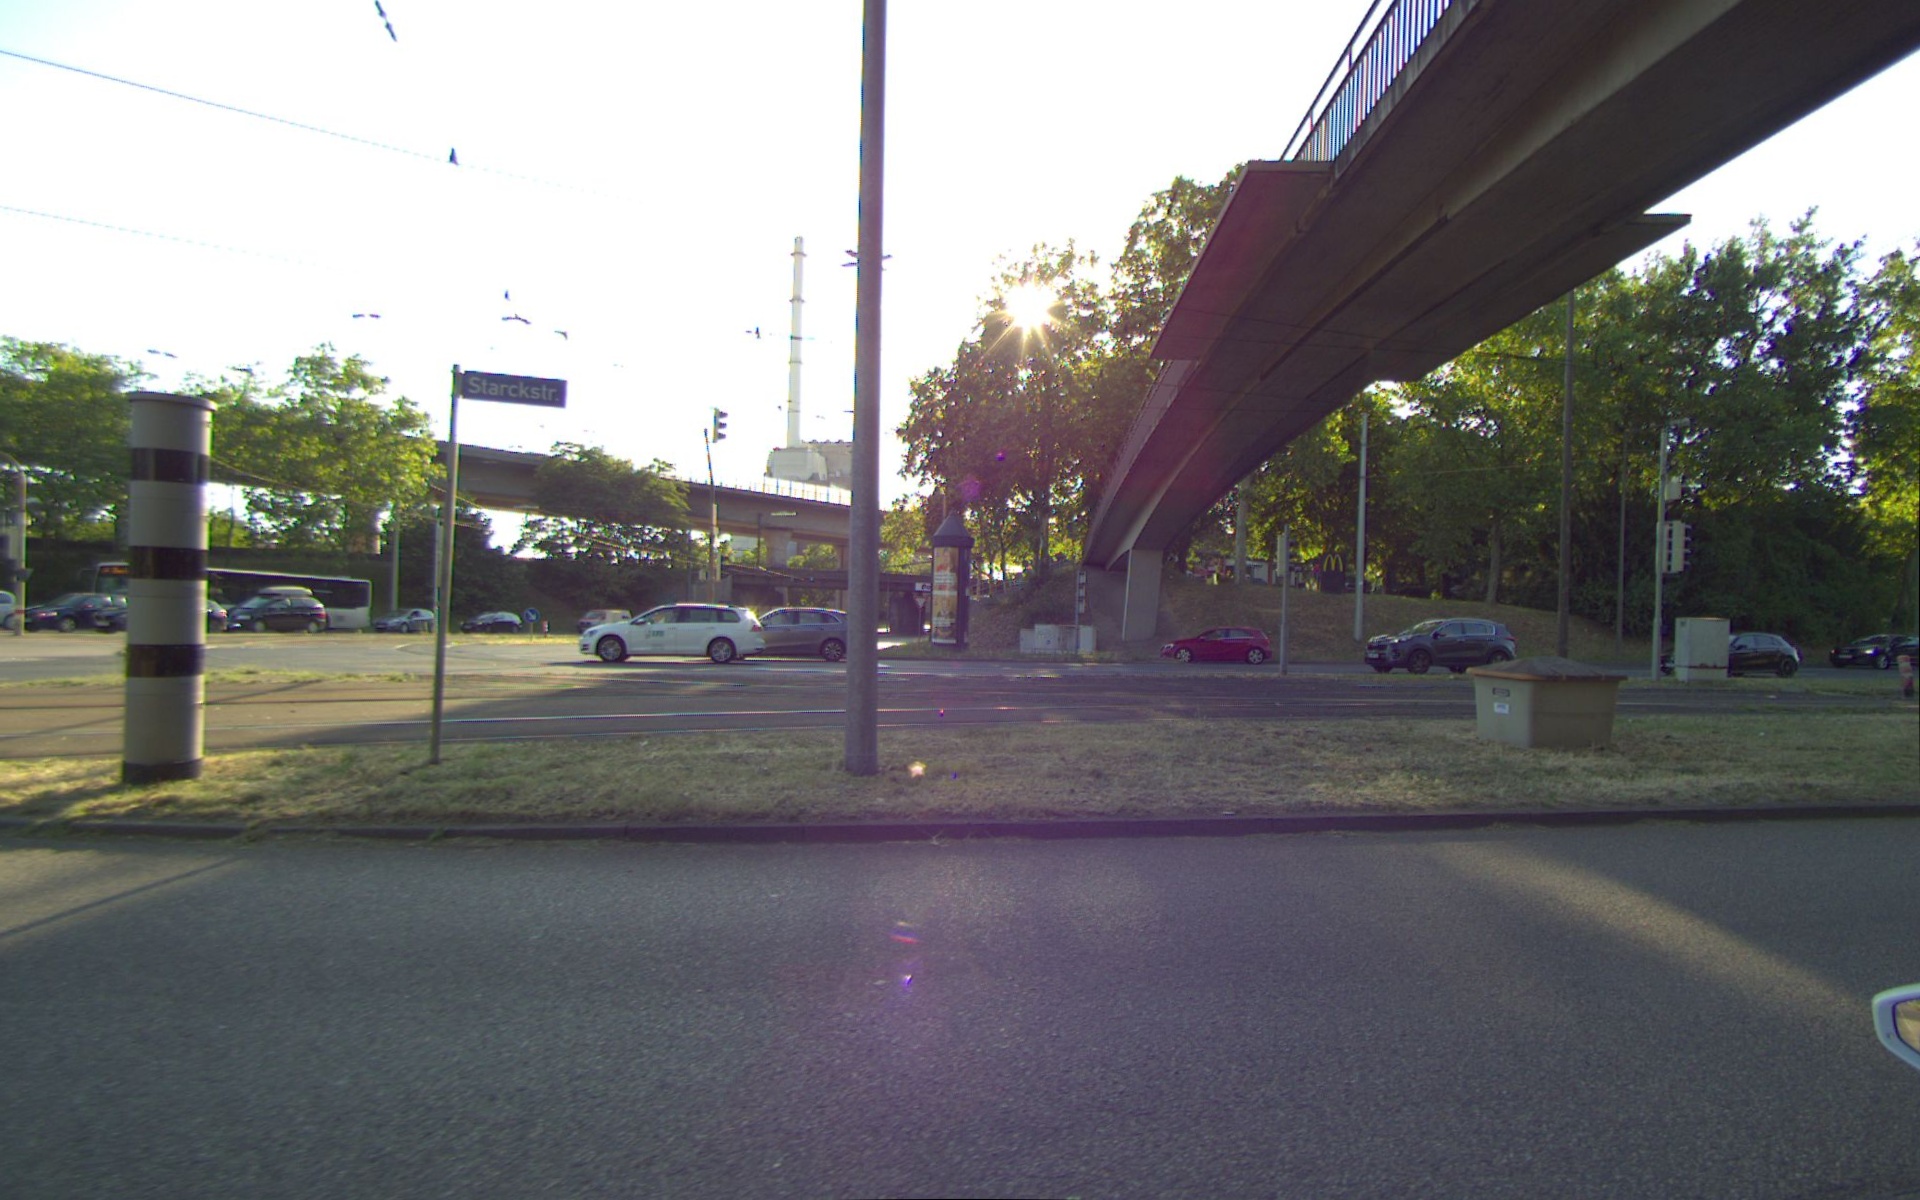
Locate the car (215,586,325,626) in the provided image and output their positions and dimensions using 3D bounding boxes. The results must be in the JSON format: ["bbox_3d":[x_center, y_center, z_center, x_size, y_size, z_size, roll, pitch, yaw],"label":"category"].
[{"bbox_3d":[-31.142,0.307,45.477,1.682,1.674,4.098,2,-1,9],"label":"car"}]

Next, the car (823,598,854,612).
[{"bbox_3d":[-17.264,0.695,142.990,1.970,1.794,3.982,3,-1,40],"label":"car"}]

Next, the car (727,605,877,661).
[{"bbox_3d":[-4.677,0.960,29.636,4.179,1.463,2.007,2,0,-12],"label":"car"}]

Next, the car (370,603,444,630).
[{"bbox_3d":[-32.487,0.963,59.120,1.670,1.461,4.003,2,-1,9],"label":"car"}]

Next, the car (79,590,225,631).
[{"bbox_3d":[-29.887,0.423,37.324,1.682,1.372,4.098,2,-1,9],"label":"car"}]

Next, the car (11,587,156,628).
[{"bbox_3d":[-32.567,0.292,37.475,1.577,1.372,4.003,2,-1,6],"label":"car"}]

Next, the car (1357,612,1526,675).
[{"bbox_3d":[14.195,1.279,29.696,4.281,1.673,1.792,2,0,-12],"label":"car"}]

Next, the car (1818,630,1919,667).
[{"bbox_3d":[39.275,2.083,43.071,4.122,1.435,1.686,2,1,-15],"label":"car"}]

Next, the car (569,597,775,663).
[{"bbox_3d":[-7.125,0.745,25.309,4.776,1.463,2.007,2,0,-12],"label":"car"}]

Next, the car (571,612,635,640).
[{"bbox_3d":[-27.743,2.027,78.270,1.959,2.040,5.429,2,0,13],"label":"car"}]

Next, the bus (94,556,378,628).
[{"bbox_3d":[-34.361,-0.230,48.871,2.774,2.993,12.862,2,-1,10],"label":"bus"}]

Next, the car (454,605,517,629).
[{"bbox_3d":[-30.996,1.101,65.750,1.670,1.461,4.003,2,-1,9],"label":"car"}]

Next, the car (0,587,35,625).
[{"bbox_3d":[-36.440,0.188,36.708,1.577,1.372,3.737,2,-1,6],"label":"car"}]

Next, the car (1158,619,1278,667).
[{"bbox_3d":[9.955,1.636,39.025,4.269,1.672,1.797,2,0,8],"label":"car"}]

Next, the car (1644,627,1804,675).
[{"bbox_3d":[24.397,1.628,32.116,4.233,1.327,1.688,2,0,-11],"label":"car"}]
